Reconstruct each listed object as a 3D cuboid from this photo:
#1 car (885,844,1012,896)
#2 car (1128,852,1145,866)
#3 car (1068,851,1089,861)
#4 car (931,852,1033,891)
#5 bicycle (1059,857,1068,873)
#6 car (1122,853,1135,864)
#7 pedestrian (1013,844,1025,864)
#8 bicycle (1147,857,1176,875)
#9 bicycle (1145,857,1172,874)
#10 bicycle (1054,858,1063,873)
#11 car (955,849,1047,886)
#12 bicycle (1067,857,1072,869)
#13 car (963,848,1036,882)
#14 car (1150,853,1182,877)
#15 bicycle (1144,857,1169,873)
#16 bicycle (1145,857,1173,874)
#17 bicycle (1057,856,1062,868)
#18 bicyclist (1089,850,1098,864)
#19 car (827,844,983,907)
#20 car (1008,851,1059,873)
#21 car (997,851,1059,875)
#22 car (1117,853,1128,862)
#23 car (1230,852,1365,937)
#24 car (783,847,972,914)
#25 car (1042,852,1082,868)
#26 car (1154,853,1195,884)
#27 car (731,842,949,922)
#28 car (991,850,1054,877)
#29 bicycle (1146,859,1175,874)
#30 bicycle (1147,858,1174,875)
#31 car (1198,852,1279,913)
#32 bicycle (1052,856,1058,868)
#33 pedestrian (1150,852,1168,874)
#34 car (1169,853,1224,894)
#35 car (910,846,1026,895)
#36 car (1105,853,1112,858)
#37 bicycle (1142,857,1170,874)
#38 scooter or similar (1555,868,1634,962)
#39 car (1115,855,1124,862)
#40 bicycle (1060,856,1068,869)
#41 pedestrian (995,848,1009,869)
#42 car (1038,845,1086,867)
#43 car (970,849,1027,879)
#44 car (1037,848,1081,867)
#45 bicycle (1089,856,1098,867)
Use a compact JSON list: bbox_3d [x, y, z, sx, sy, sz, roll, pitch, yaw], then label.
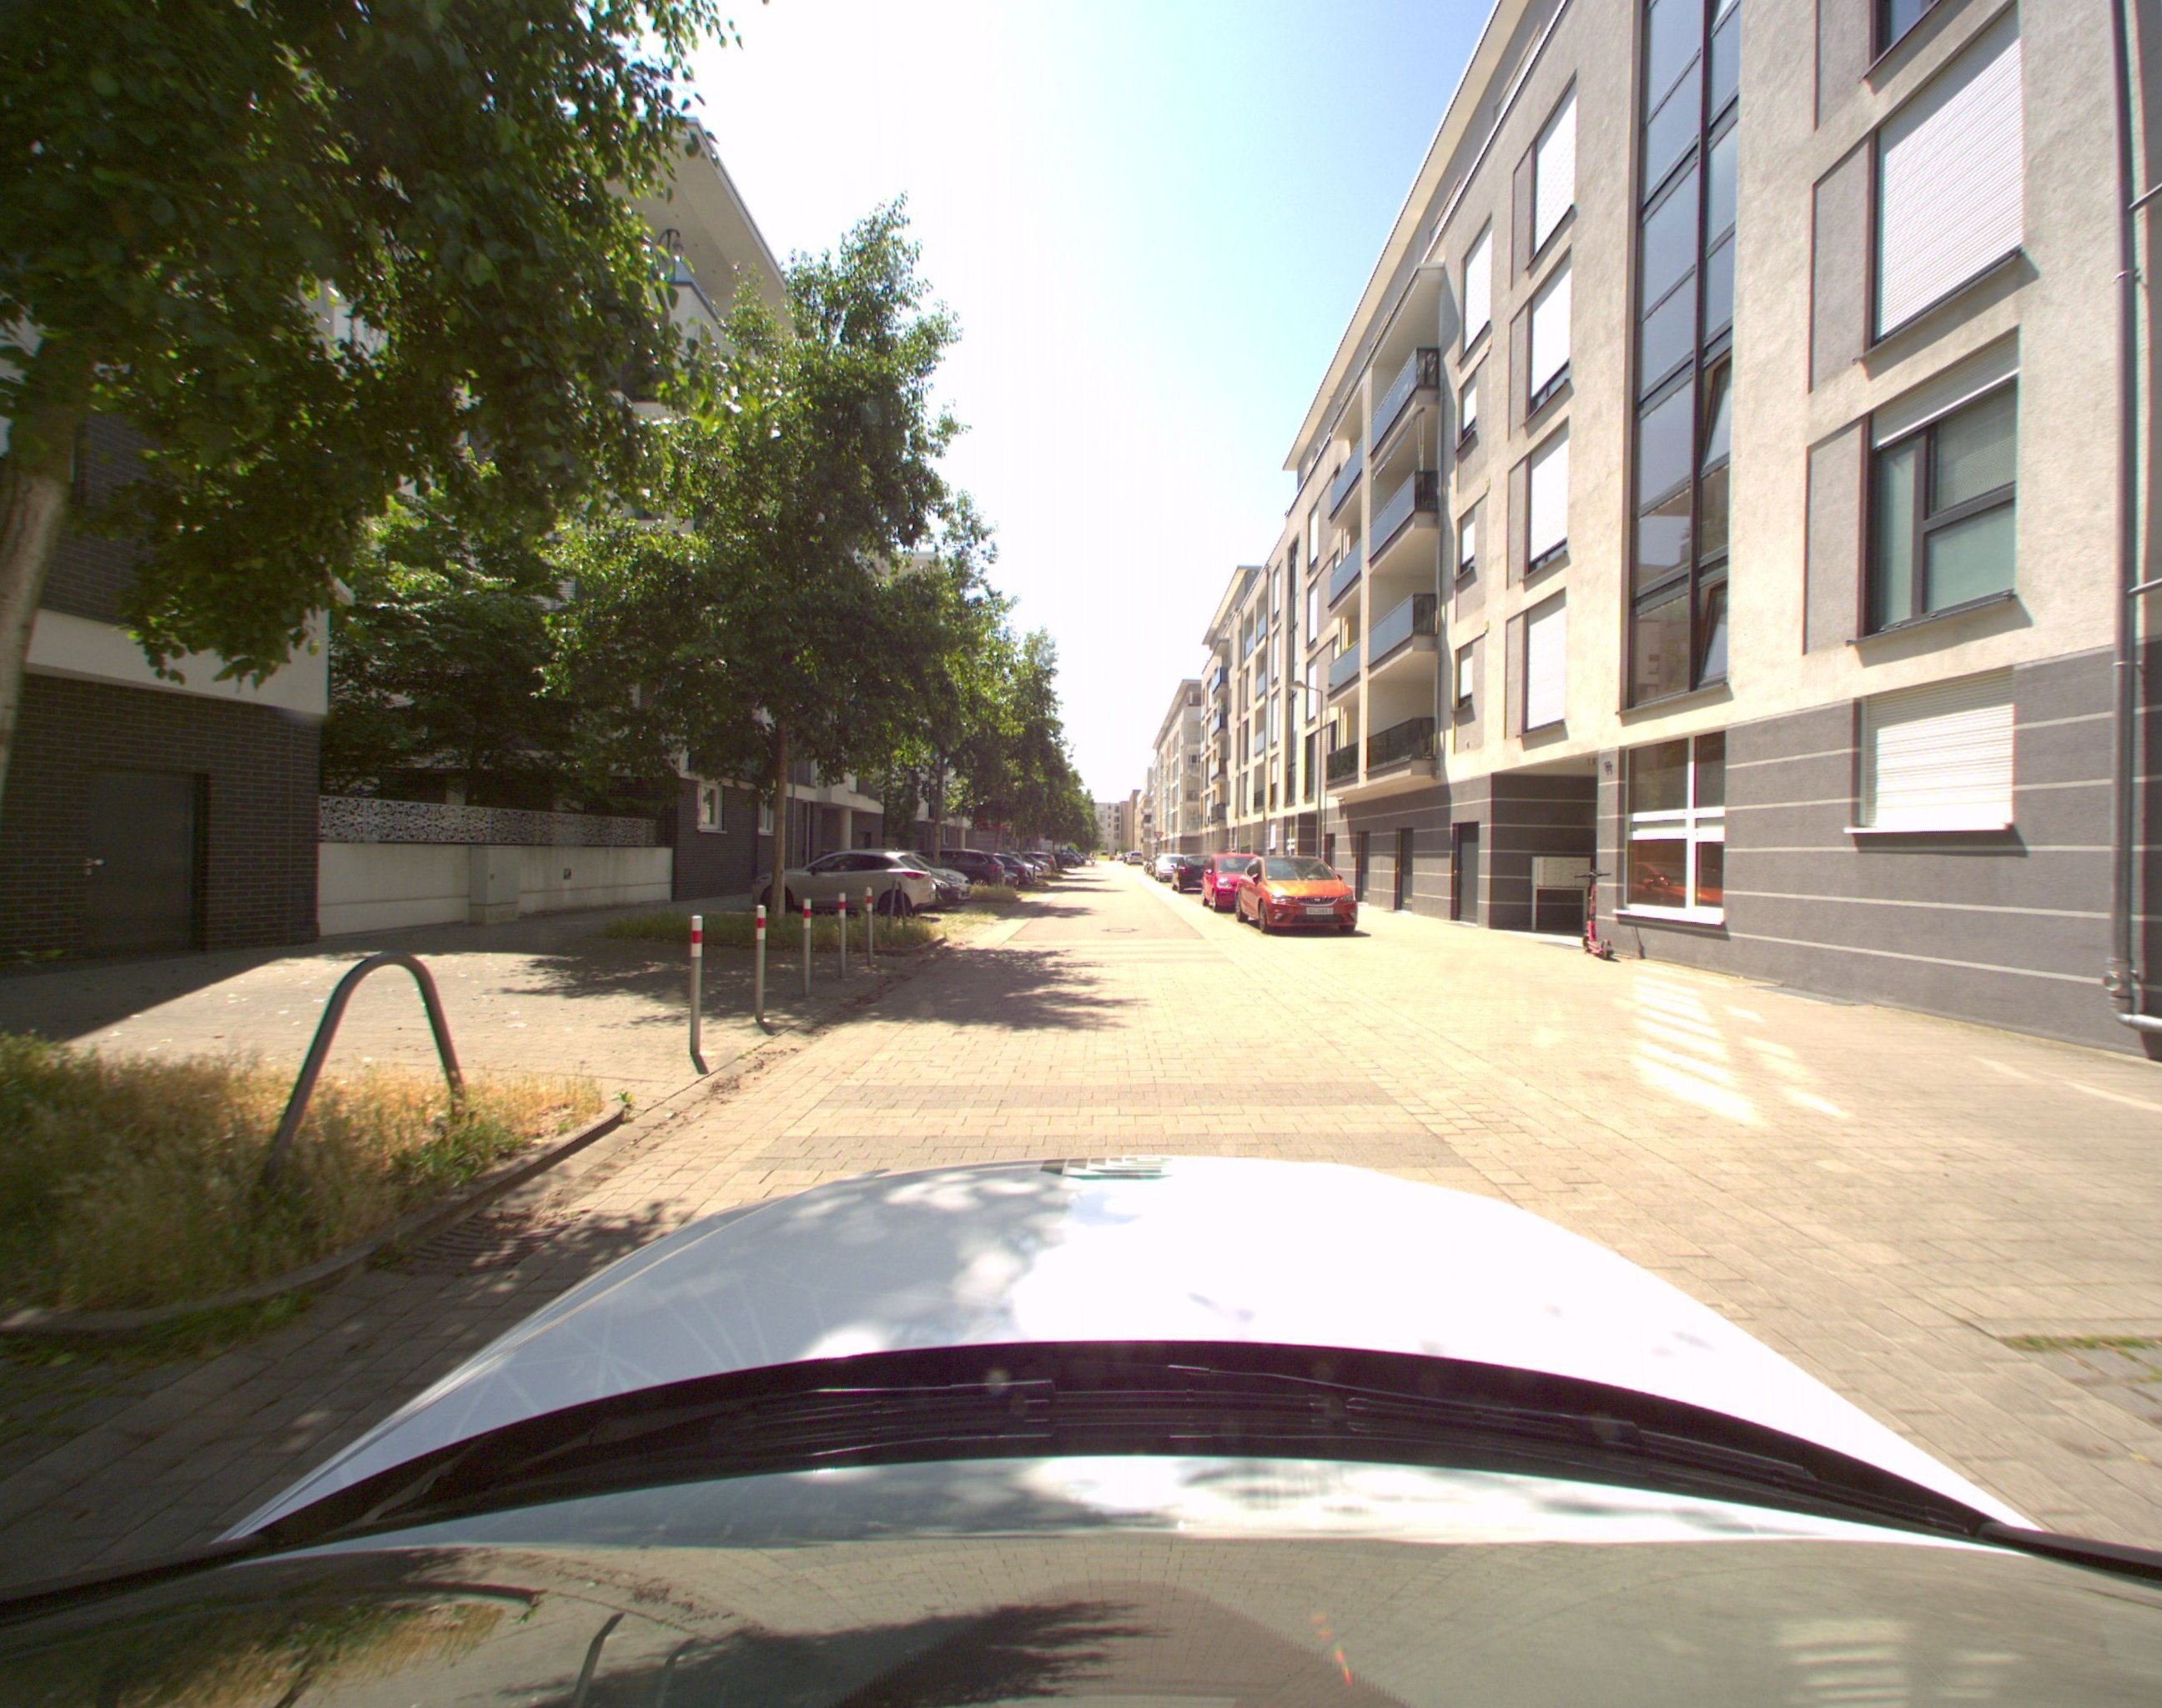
[{"bbox_3d":[-4.534,0.533,28.317,3.972,1.629,1.934,2,0,1],"label":"car"},{"bbox_3d":[6.707,0.572,99.033,1.989,1.657,4.117,0,0,2],"label":"car"},{"bbox_3d":[-0.571,0.447,163.476,3.965,2.013,2.004,1,0,8],"label":"car"},{"bbox_3d":[-4.019,0.703,33.480,3.964,1.445,1.774,2,0,-3],"label":"car"},{"bbox_3d":[-1.369,0.839,63.372,0.371,1.180,1.814,0,0,-10],"label":"bicycle"},{"bbox_3d":[6.975,0.678,119.148,1.749,1.552,4.005,1,0,5],"label":"car"},{"bbox_3d":[-6.334,0.034,83.110,1.004,2.013,1.131,0,0,4],"label":"pedestrian"},{"bbox_3d":[5.427,0.810,55.236,1.865,1.218,0.715,0,0,-3],"label":"bicycle"},{"bbox_3d":[5.504,0.799,57.922,1.838,1.148,0.458,0,0,-18],"label":"bicycle"},{"bbox_3d":[-1.730,0.866,63.351,0.434,1.128,1.972,0,0,-10],"label":"bicycle"},{"bbox_3d":[-3.904,0.641,40.497,4.348,1.710,1.999,-1,0,-1],"label":"car"},{"bbox_3d":[-1.132,0.892,82.081,0.464,1.141,1.926,0,0,0],"label":"bicycle"},{"bbox_3d":[-4.228,0.567,42.920,3.700,1.586,1.818,2,0,-4],"label":"car"},{"bbox_3d":[5.337,0.658,51.591,1.732,1.485,4.230,0,0,2],"label":"car"},{"bbox_3d":[5.563,0.807,60.285,1.851,1.193,0.688,0,0,4],"label":"bicycle"},{"bbox_3d":[5.498,0.815,57.338,1.922,1.218,0.459,0,0,-8],"label":"bicycle"},{"bbox_3d":[-2.159,0.799,81.889,0.432,1.204,1.701,2,1,2],"label":"bicycle"},{"bbox_3d":[1.399,0.344,89.994,0.950,1.459,0.800,0,0,1],"label":"bicyclist"},{"bbox_3d":[-4.982,0.582,23.413,3.972,1.591,1.885,2,0,2],"label":"car"},{"bbox_3d":[-3.543,0.592,60.896,3.617,1.520,1.832,2,0,1],"label":"car"},{"bbox_3d":[-3.596,0.629,55.976,4.170,1.486,1.957,2,-1,-2],"label":"car"},{"bbox_3d":[8.568,0.680,167.697,1.987,1.675,4.000,1,0,0],"label":"car"},{"bbox_3d":[4.226,0.715,16.581,1.731,1.487,4.260,-1,0,2],"label":"car"},{"bbox_3d":[-5.117,0.639,20.853,4.301,1.476,1.793,2,0,1],"label":"car"},{"bbox_3d":[-2.131,0.675,92.009,4.367,1.515,2.076,2,0,1],"label":"car"},{"bbox_3d":[4.903,0.719,43.276,1.827,1.505,4.352,-1,0,2],"label":"car"},{"bbox_3d":[-5.317,0.597,18.409,4.237,1.517,1.925,3,0,1],"label":"car"},{"bbox_3d":[-3.780,0.597,53.082,3.924,1.553,1.873,2,0,1],"label":"car"},{"bbox_3d":[5.512,0.890,56.675,1.918,1.035,0.559,0,0,-3],"label":"bicycle"},{"bbox_3d":[5.440,0.844,55.982,1.782,1.104,0.746,0,0,-2],"label":"bicycle"},{"bbox_3d":[4.187,0.708,22.120,1.589,1.485,3.677,-1,0,2],"label":"car"},{"bbox_3d":[-2.614,0.784,82.151,0.517,1.204,1.752,2,1,0],"label":"bicycle"},{"bbox_3d":[5.504,0.623,57.466,1.178,1.515,0.686,0,0,-8],"label":"pedestrian"},{"bbox_3d":[4.444,0.720,31.890,1.637,1.462,4.118,-1,0,1],"label":"car"},{"bbox_3d":[-4.210,0.599,30.838,3.970,1.651,1.920,2,0,3],"label":"car"},{"bbox_3d":[8.584,0.464,251.093,1.987,1.519,4.000,1,0,1],"label":"car"},{"bbox_3d":[5.382,0.825,58.290,1.911,1.133,0.611,-1,0,10],"label":"bicycle"},{"bbox_3d":[7.353,0.829,11.720,0.541,1.225,1.536,1,0,16],"label":"scooter or similar"},{"bbox_3d":[9.258,1.096,194.924,1.987,1.717,4.000,1,0,1],"label":"car"},{"bbox_3d":[-1.727,0.834,81.874,0.569,1.174,1.765,4,1,-5],"label":"bicycle"},{"bbox_3d":[-6.592,0.359,67.875,0.996,1.690,0.833,0,0,2],"label":"pedestrian"},{"bbox_3d":[-2.372,0.218,104.640,6.002,2.816,2.606,0,0,1],"label":"car"},{"bbox_3d":[-4.638,0.574,45.933,2.923,1.500,1.848,3,0,0],"label":"car"},{"bbox_3d":[-2.669,0.422,99.211,5.126,2.119,2.312,2,0,1],"label":"car"},{"bbox_3d":[1.383,0.816,89.897,0.895,1.129,2.040,0,0,1],"label":"bicycle"}]
